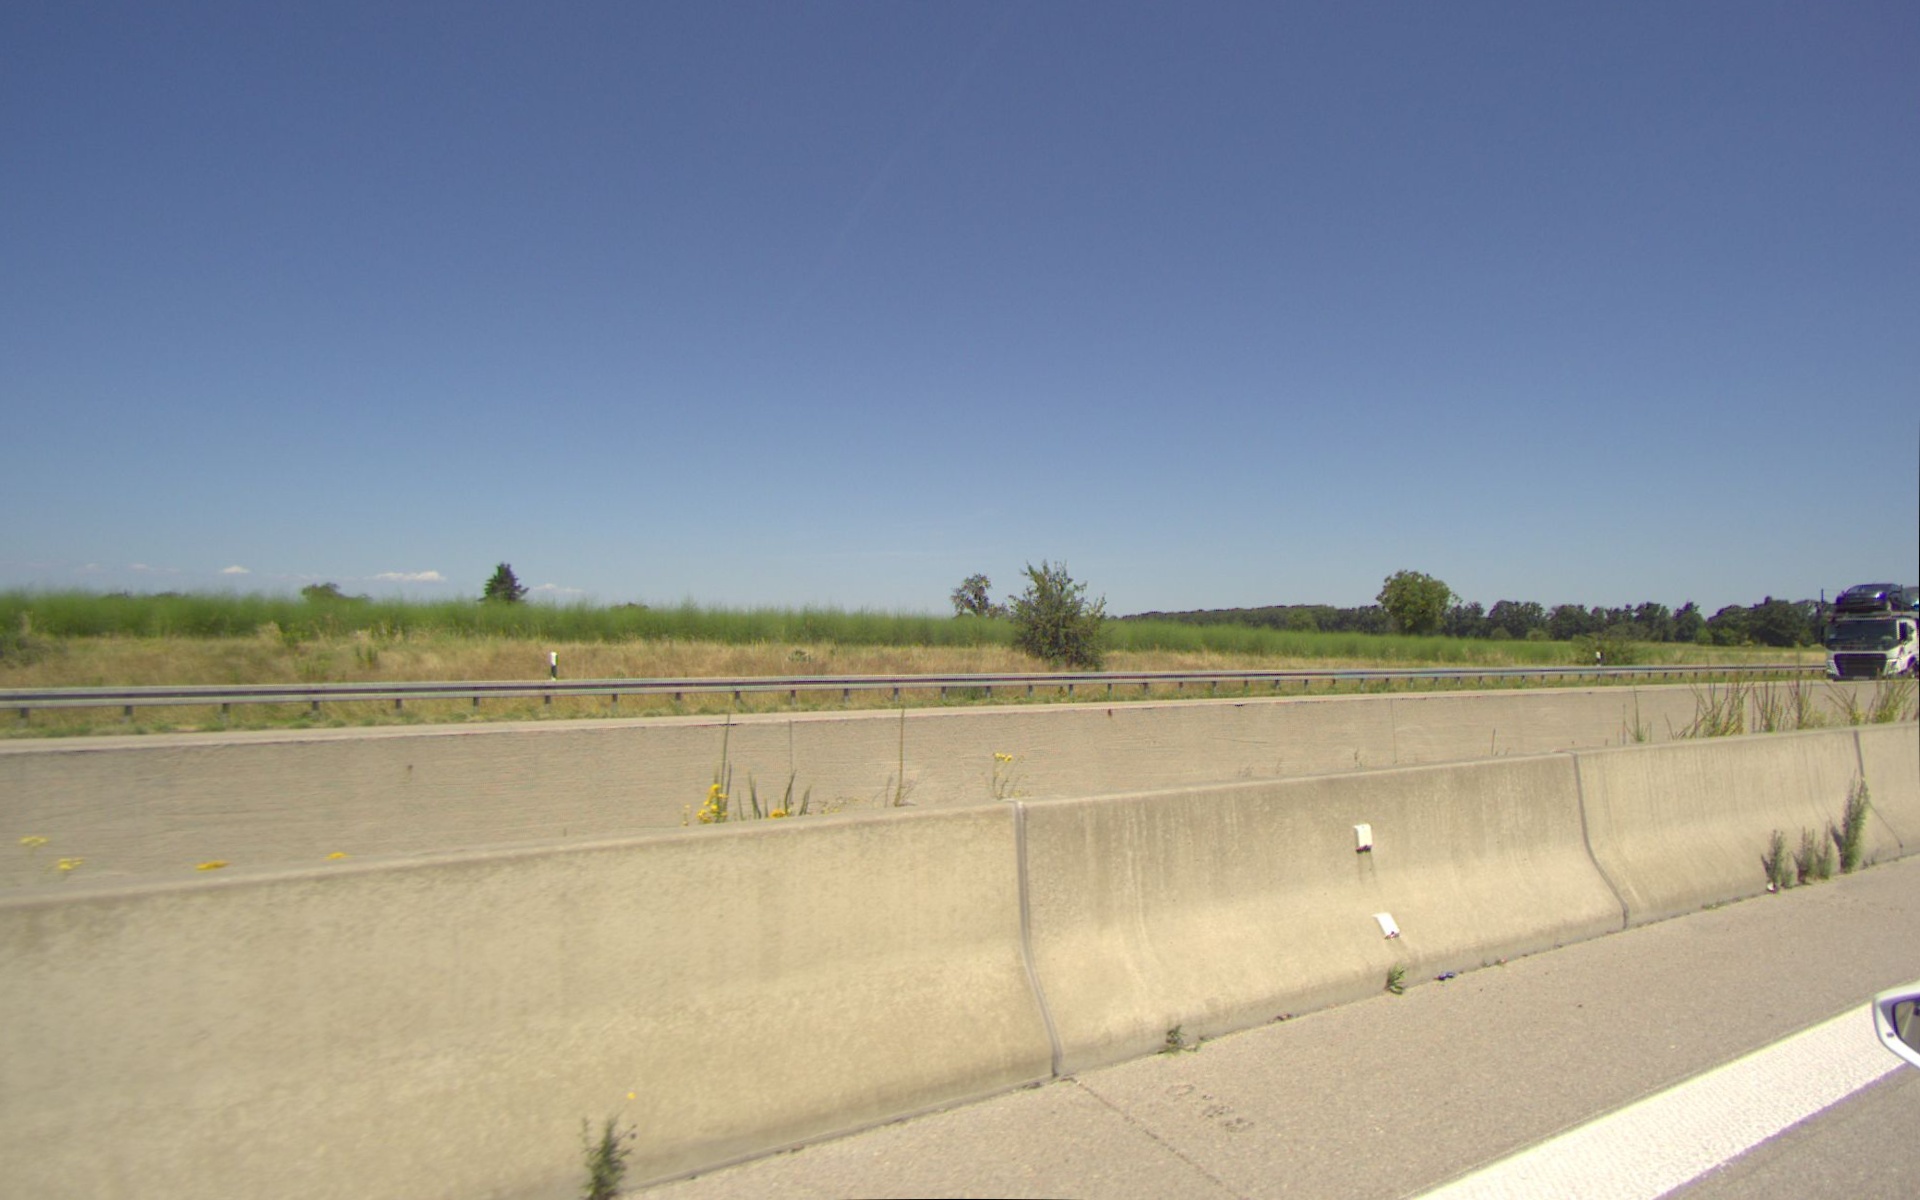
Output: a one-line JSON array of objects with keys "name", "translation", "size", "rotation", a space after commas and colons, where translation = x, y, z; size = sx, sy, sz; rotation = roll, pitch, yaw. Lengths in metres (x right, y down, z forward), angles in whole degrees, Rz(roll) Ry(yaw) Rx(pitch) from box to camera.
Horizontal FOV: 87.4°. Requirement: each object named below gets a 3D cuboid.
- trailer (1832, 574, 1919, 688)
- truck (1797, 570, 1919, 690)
[{"name": "trailer", "translation": [44.032, 1.425, 45.414], "size": [12.150, 4.668, 3.216], "rotation": [2, 0, -31]}, {"name": "truck", "translation": [38.365, 1.246, 42.021], "size": [6.177, 4.668, 3.216], "rotation": [2, 0, -30]}]
